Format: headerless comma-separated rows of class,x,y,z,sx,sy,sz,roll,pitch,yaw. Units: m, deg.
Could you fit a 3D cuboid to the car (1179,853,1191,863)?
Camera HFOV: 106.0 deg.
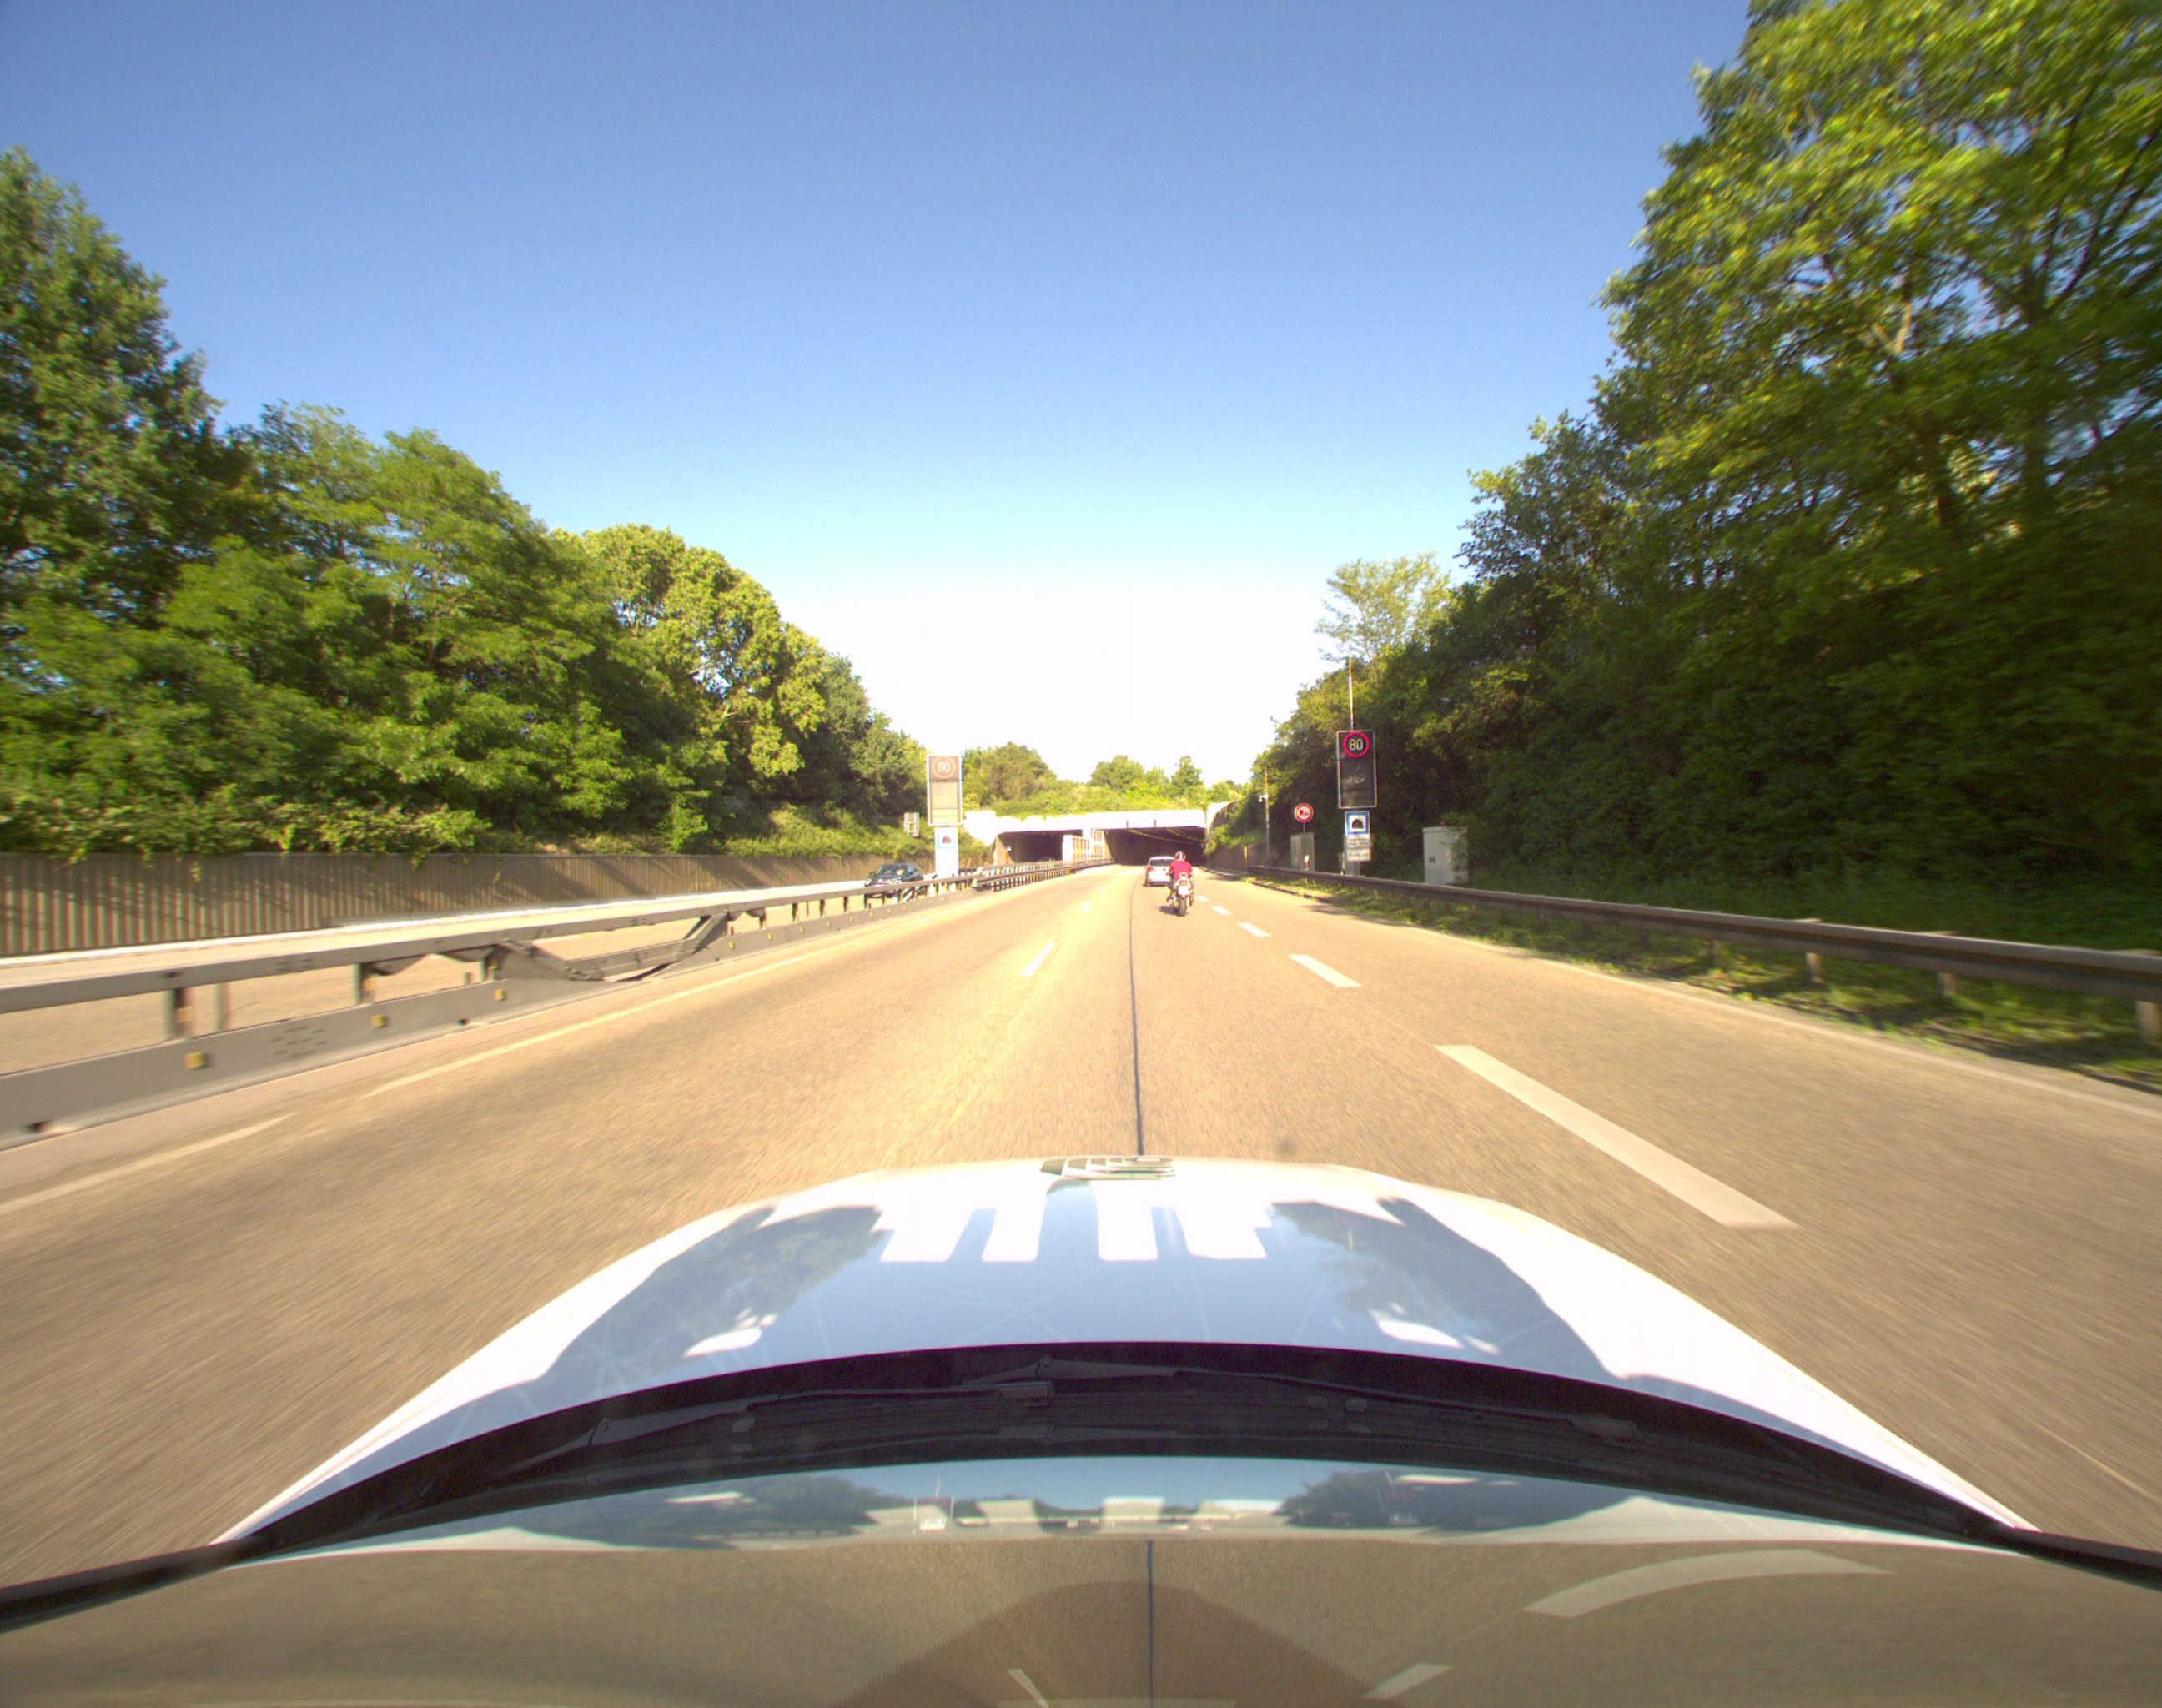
car,20.955,0.713,163.452,1.980,1.925,4.013,-1,0,12

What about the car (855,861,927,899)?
car,-8.497,1.113,36.795,1.984,1.486,4.205,-1,1,4

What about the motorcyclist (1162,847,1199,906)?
motorcyclist,2.579,0.574,21.236,0.879,1.501,1.064,0,1,2

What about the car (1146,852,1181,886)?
car,4.040,0.702,40.444,1.659,1.552,4.005,0,1,4

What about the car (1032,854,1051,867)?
car,-5.131,0.834,105.740,1.658,1.675,4.872,0,1,6

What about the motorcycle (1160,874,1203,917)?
motorcycle,2.577,1.046,21.233,0.855,0.991,2.729,0,0,1
